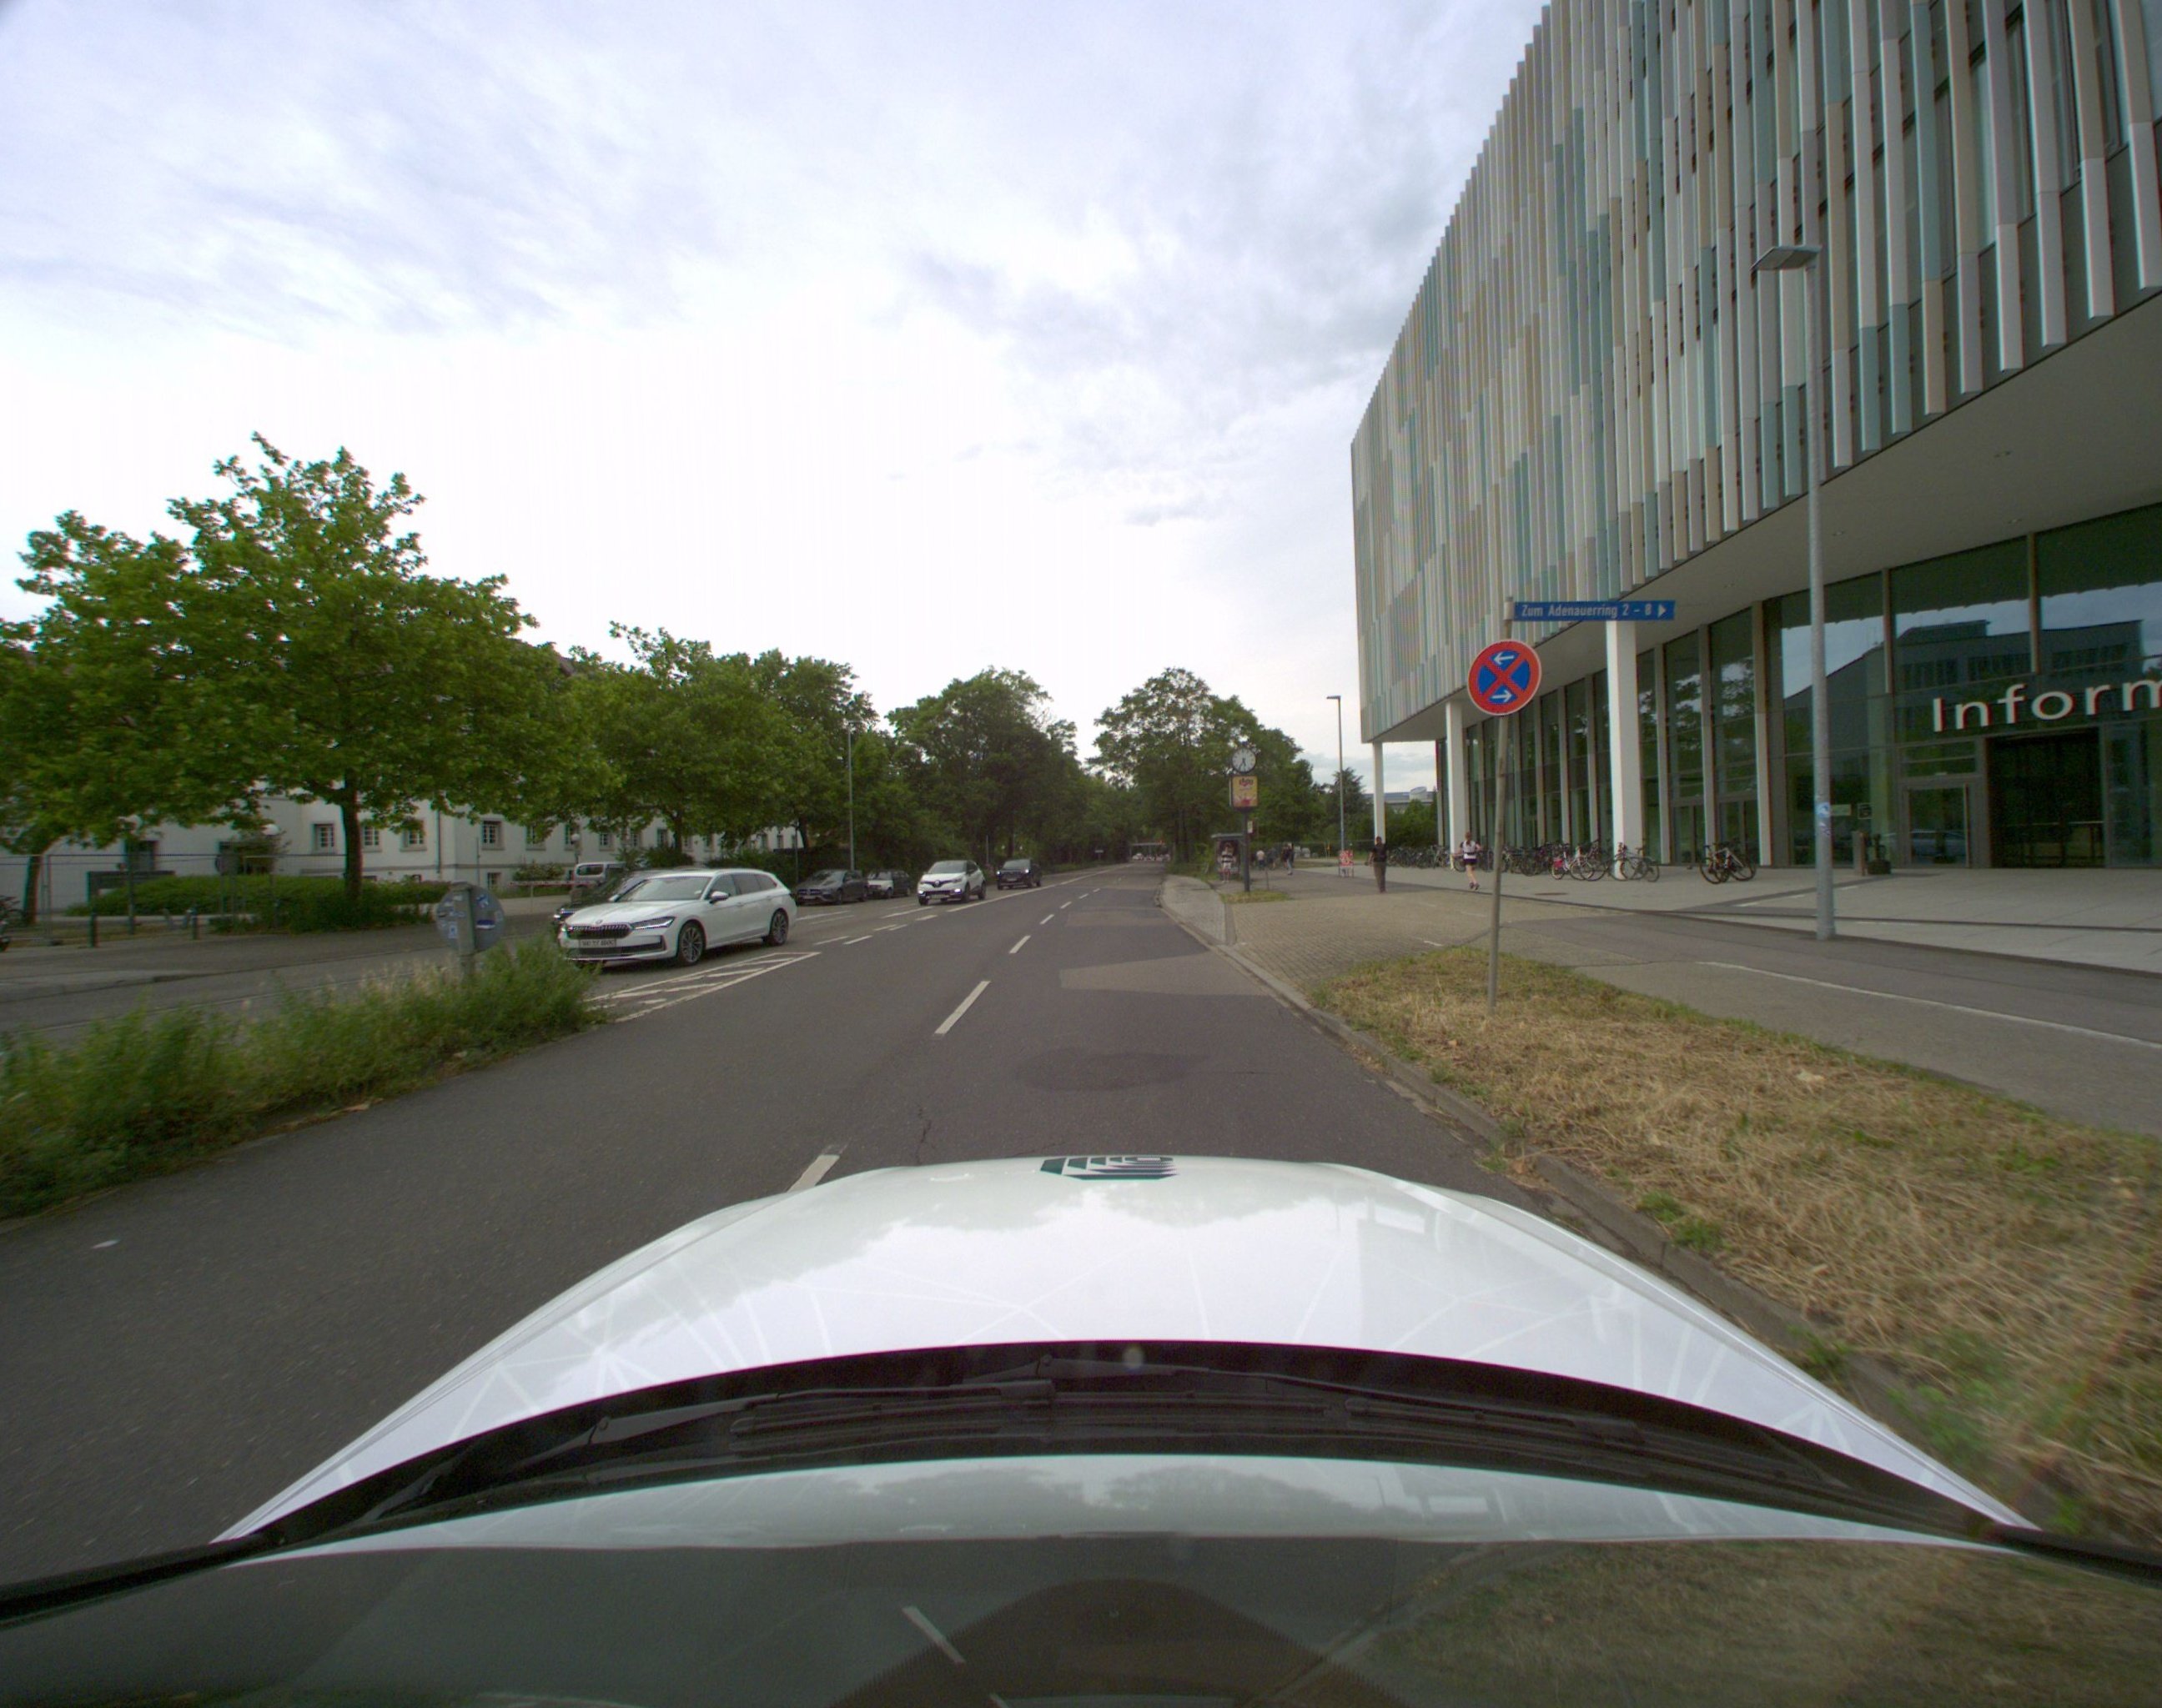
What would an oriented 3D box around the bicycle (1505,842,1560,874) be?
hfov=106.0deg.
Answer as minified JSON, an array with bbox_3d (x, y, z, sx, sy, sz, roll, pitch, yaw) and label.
[{"bbox_3d":[17.065,0.155,30.816,1.632,1.091,0.574,-5,-1,14],"label":"bicycle"}]

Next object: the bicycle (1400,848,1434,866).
[{"bbox_3d":[18.118,0.156,43.931,1.598,0.875,0.557,-3,-1,6],"label":"bicycle"}]

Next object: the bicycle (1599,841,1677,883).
[{"bbox_3d":[15.327,0.217,22.464,0.607,1.080,1.959,-4,0,-5],"label":"bicycle"}]

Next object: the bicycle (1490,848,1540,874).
[{"bbox_3d":[17.082,0.280,32.098,1.597,0.874,0.557,-5,-1,8],"label":"bicycle"}]

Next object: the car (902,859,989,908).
[{"bbox_3d":[-4.858,1.034,29.774,1.983,1.547,4.187,-3,-1,6],"label":"car"}]

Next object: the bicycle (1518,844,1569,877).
[{"bbox_3d":[16.341,0.220,28.799,1.393,1.043,0.560,-4,-1,6],"label":"bicycle"}]

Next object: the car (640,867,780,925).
[{"bbox_3d":[-11.526,1.238,25.707,1.848,1.607,4.603,0,0,8],"label":"car"}]

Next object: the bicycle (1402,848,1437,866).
[{"bbox_3d":[17.826,0.155,42.916,1.598,0.875,0.557,-3,-1,6],"label":"bicycle"}]

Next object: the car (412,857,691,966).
[{"bbox_3d":[-9.676,0.947,15.448,1.983,1.694,4.476,-2,0,6],"label":"car"}]

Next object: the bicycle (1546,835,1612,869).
[{"bbox_3d":[18.815,-0.058,30.799,0.652,1.144,1.963,-4,0,-43],"label":"bicycle"}]

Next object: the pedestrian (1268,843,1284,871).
[{"bbox_3d":[14.578,0.230,60.841,0.922,2.014,1.040,-2,-1,2],"label":"pedestrian"}]

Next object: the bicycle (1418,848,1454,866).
[{"bbox_3d":[17.825,0.163,40.855,1.524,0.833,0.557,-3,-1,6],"label":"bicycle"}]

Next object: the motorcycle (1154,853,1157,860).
[{"bbox_3d":[22.444,0.732,245.210,0.985,1.936,2.674,0,0,6],"label":"motorcycle"}]

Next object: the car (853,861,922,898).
[{"bbox_3d":[-9.259,1.178,39.228,1.983,1.689,4.007,0,0,6],"label":"car"}]

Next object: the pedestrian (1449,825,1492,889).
[{"bbox_3d":[11.561,0.102,24.210,0.838,1.836,0.895,-2,-1,5],"label":"pedestrian"}]

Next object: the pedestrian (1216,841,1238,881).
[{"bbox_3d":[7.556,0.355,42.185,0.908,2.013,0.855,-4,1,5],"label":"pedestrian"}]

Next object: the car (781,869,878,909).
[{"bbox_3d":[-10.378,1.389,34.048,1.862,1.424,4.741,1,0,10],"label":"car"}]

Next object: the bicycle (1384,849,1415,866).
[{"bbox_3d":[19.065,0.207,48.699,1.598,0.875,0.557,-3,-1,6],"label":"bicycle"}]

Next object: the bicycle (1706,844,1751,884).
[{"bbox_3d":[16.335,0.239,20.534,1.494,0.929,0.436,-2,1,-33],"label":"bicycle"}]

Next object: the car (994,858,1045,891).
[{"bbox_3d":[-3.269,1.071,44.065,1.893,1.593,4.524,-2,0,6],"label":"car"}]

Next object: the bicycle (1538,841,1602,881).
[{"bbox_3d":[15.147,0.225,25.306,0.633,1.140,2.202,-5,-1,2],"label":"bicycle"}]

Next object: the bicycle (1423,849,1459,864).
[{"bbox_3d":[18.351,0.124,41.487,1.552,0.716,0.557,-3,-1,6],"label":"bicycle"}]

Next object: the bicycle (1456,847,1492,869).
[{"bbox_3d":[17.250,0.164,35.762,1.276,0.875,0.557,-3,-1,6],"label":"bicycle"}]

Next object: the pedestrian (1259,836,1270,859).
[{"bbox_3d":[16.024,-0.581,71.166,0.820,2.014,0.721,-3,-1,5],"label":"pedestrian"}]

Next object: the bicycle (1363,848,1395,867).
[{"bbox_3d":[19.106,0.226,52.248,1.786,1.082,0.627,-4,-1,4],"label":"bicycle"}]

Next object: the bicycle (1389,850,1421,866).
[{"bbox_3d":[18.961,0.241,47.671,1.598,0.875,0.557,-3,-1,6],"label":"bicycle"}]

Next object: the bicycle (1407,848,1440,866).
[{"bbox_3d":[17.744,0.165,42.262,1.447,0.839,0.557,-3,-1,6],"label":"bicycle"}]

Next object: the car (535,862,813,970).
[{"bbox_3d":[-6.605,0.900,14.018,1.894,1.465,4.919,0,0,6],"label":"car"}]

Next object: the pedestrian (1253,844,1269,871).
[{"bbox_3d":[13.531,0.244,61.243,0.922,2.014,1.040,-2,-1,2],"label":"pedestrian"}]

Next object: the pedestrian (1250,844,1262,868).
[{"bbox_3d":[15.253,0.157,70.891,0.821,2.014,0.720,-2,-1,2],"label":"pedestrian"}]

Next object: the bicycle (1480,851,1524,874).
[{"bbox_3d":[17.813,0.347,34.485,1.598,0.896,0.367,-2,-1,6],"label":"bicycle"}]

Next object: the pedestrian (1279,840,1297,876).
[{"bbox_3d":[12.141,0.232,47.690,0.838,2.013,0.896,-2,-1,7],"label":"pedestrian"}]

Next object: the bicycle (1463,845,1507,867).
[{"bbox_3d":[18.281,0.099,36.891,1.680,0.947,0.518,-2,-1,12],"label":"bicycle"}]

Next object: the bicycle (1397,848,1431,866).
[{"bbox_3d":[18.190,0.155,44.512,1.598,0.875,0.557,-3,-1,6],"label":"bicycle"}]

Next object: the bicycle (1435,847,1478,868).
[{"bbox_3d":[16.840,0.158,36.555,1.598,0.875,0.557,-3,-1,6],"label":"bicycle"}]

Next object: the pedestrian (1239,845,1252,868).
[{"bbox_3d":[14.350,0.219,71.075,0.922,2.014,1.040,-2,-1,2],"label":"pedestrian"}]

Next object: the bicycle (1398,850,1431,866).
[{"bbox_3d":[19.007,0.226,46.469,1.598,0.875,0.557,-3,-1,6],"label":"bicycle"}]

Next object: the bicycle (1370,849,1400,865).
[{"bbox_3d":[18.742,0.193,50.275,1.598,0.875,0.557,-3,-1,6],"label":"bicycle"}]

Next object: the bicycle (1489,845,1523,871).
[{"bbox_3d":[18.037,0.157,34.578,1.190,1.050,0.436,-3,-1,12],"label":"bicycle"}]

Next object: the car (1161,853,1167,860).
[{"bbox_3d":[24.548,0.730,241.232,1.834,2.013,4.007,0,0,6],"label":"car"}]

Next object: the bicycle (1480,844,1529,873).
[{"bbox_3d":[17.467,0.179,33.593,1.634,1.102,0.574,-4,-1,9],"label":"bicycle"}]

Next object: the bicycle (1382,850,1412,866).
[{"bbox_3d":[19.121,0.254,49.268,1.598,0.875,0.557,-2,-1,6],"label":"bicycle"}]

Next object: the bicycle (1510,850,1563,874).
[{"bbox_3d":[16.728,0.280,29.938,1.597,0.875,0.557,0,0,8],"label":"bicycle"}]

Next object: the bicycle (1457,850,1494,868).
[{"bbox_3d":[18.159,0.210,37.520,1.427,0.746,0.557,-3,-1,6],"label":"bicycle"}]

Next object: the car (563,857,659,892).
[{"bbox_3d":[-22.203,0.960,38.545,3.570,1.601,1.654,0,0,4],"label":"car"}]

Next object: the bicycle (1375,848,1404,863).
[{"bbox_3d":[19.351,0.119,51.073,1.600,0.875,0.556,-2,0,2],"label":"bicycle"}]

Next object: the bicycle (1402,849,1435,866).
[{"bbox_3d":[18.878,0.211,45.517,1.595,0.884,0.517,-2,-1,6],"label":"bicycle"}]

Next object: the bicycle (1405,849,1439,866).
[{"bbox_3d":[18.820,0.206,44.951,1.598,0.875,0.557,-3,-1,6],"label":"bicycle"}]

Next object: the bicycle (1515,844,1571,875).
[{"bbox_3d":[16.629,0.195,29.342,1.598,0.982,0.557,-5,-1,6],"label":"bicycle"}]

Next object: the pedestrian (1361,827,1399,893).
[{"bbox_3d":[9.424,0.188,25.721,0.838,2.013,0.896,-4,-1,8],"label":"pedestrian"}]

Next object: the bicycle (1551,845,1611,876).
[{"bbox_3d":[17.057,0.210,27.805,1.594,0.936,0.571,-5,0,16],"label":"bicycle"}]

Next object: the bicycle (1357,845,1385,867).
[{"bbox_3d":[19.230,0.134,54.025,1.634,1.333,0.465,-5,-1,19],"label":"bicycle"}]
